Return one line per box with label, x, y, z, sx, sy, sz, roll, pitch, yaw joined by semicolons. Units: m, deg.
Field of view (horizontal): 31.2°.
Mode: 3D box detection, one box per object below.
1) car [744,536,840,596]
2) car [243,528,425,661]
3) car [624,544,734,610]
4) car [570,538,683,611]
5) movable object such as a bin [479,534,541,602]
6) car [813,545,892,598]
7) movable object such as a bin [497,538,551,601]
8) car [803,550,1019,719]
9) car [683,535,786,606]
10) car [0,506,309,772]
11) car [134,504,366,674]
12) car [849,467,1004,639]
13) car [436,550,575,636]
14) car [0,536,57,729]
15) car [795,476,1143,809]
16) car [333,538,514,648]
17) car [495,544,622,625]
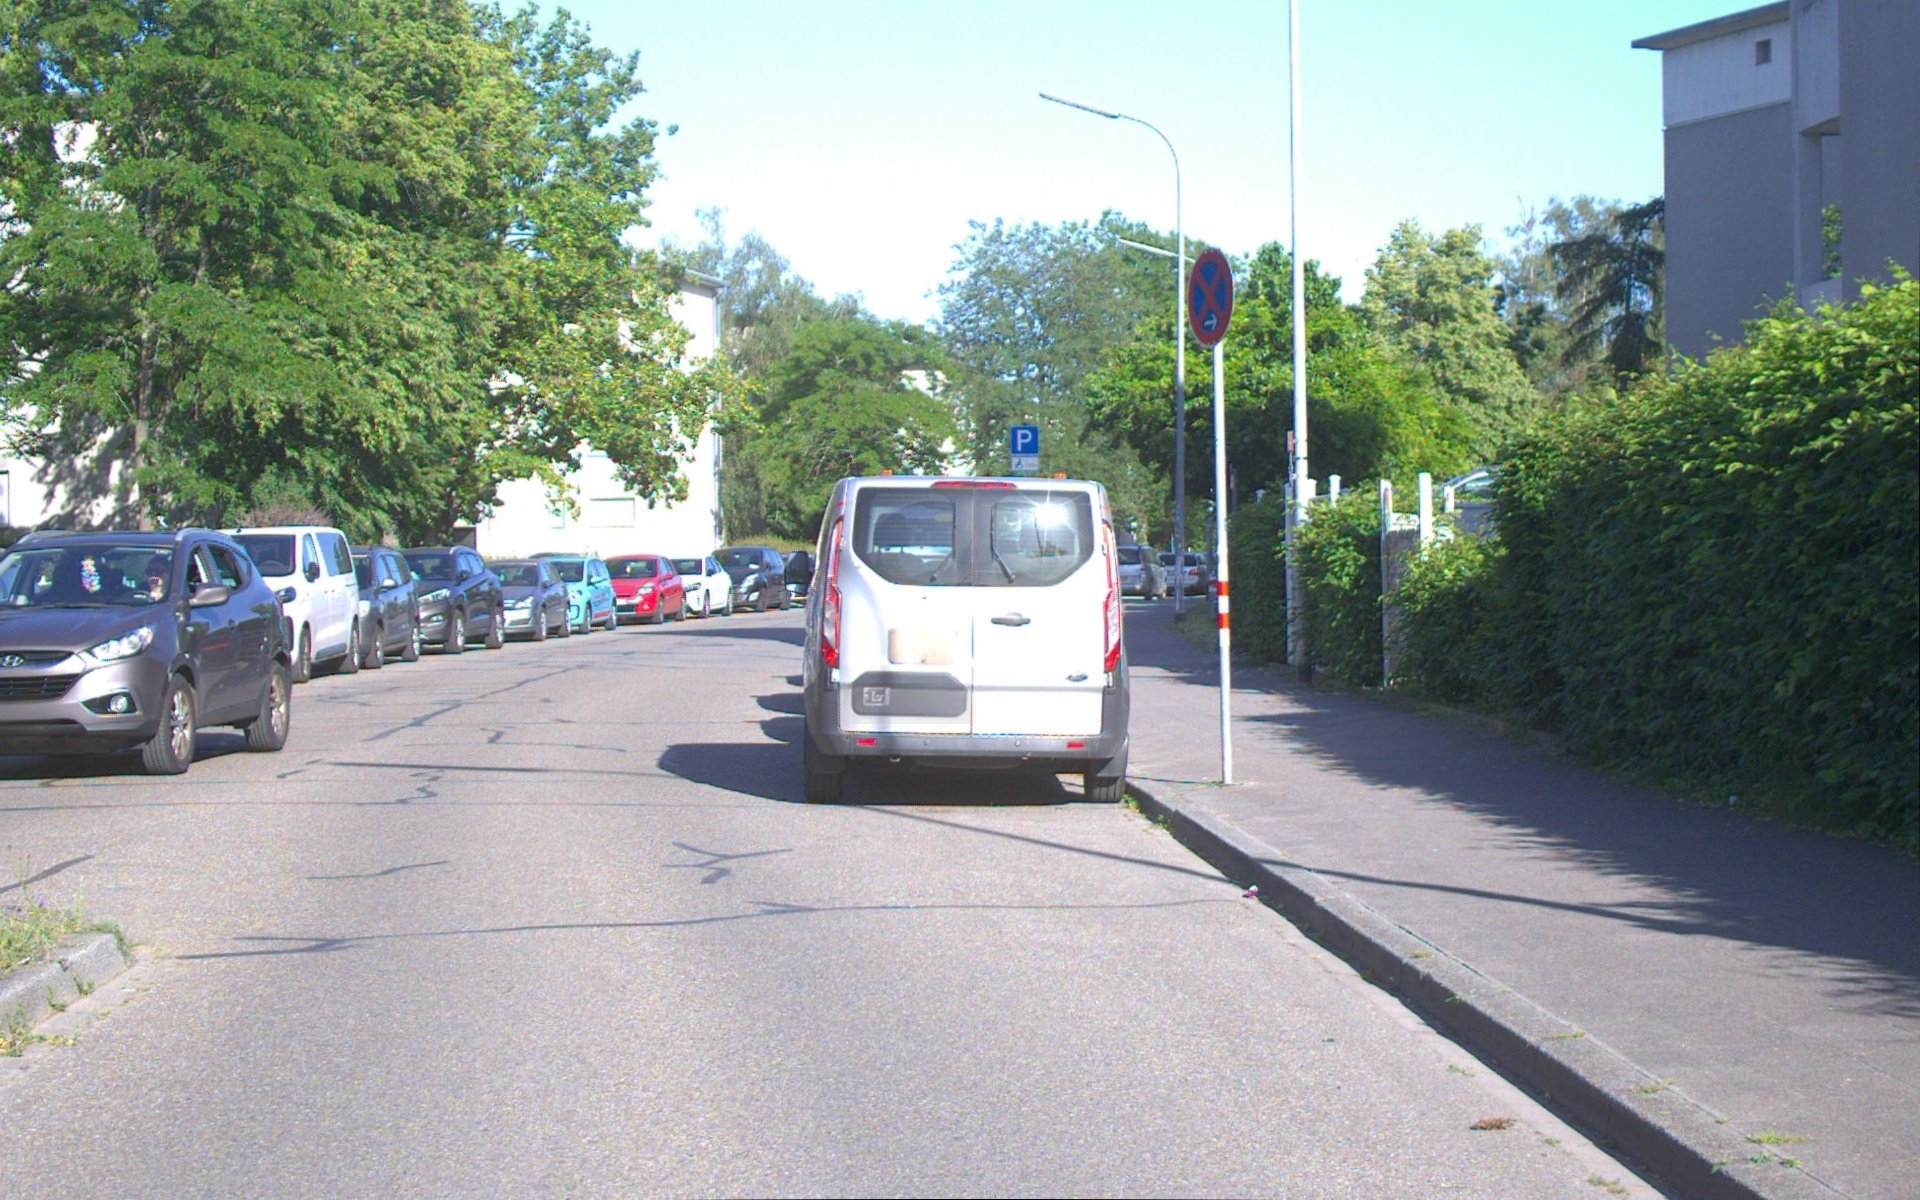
car;-4.429;-0.921;91.253;1.661;1.481;4.051;-2;1;10
car;-8.536;-0.117;47.215;1.556;1.716;4.340;-1;1;2
car;-6.366;-0.535;78.293;1.671;1.416;3.900;-1;1;8
car;-7.034;-0.557;72.720;1.670;1.469;3.677;-2;1;5
movable object such as a bin;-10.095;-0.722;77.124;1.111;1.493;1.408;0;1;4
car;-3.013;-0.816;96.825;1.660;1.421;4.048;-2;1;6
movable object such as a bin;-10.000;-0.710;78.910;0.988;1.414;1.314;0;1;4
car;-0.473;0.275;32.790;1.909;1.483;4.375;-1;1;-1
car;-5.556;-0.747;85.224;1.671;1.661;4.405;-2;1;8
car;-6.105;0.226;24.381;1.913;1.699;4.185;-1;1;3
car;-8.654;-0.175;42.289;1.863;1.954;4.671;-1;1;0
car;-0.452;-0.726;53.072;2.105;2.477;5.856;1;1;2
car;-7.991;-0.146;60.787;1.670;1.432;4.000;-2;1;3
car;-9.027;0.308;29.110;1.674;1.633;4.251;-2;1;-1
car;-0.057;0.210;22.328;1.993;1.906;4.954;-1;1;-3
car;-8.282;-0.140;53.412;1.748;1.612;4.362;-1;1;5
car;-7.694;-0.309;66.165;1.670;1.469;3.677;-2;1;5
